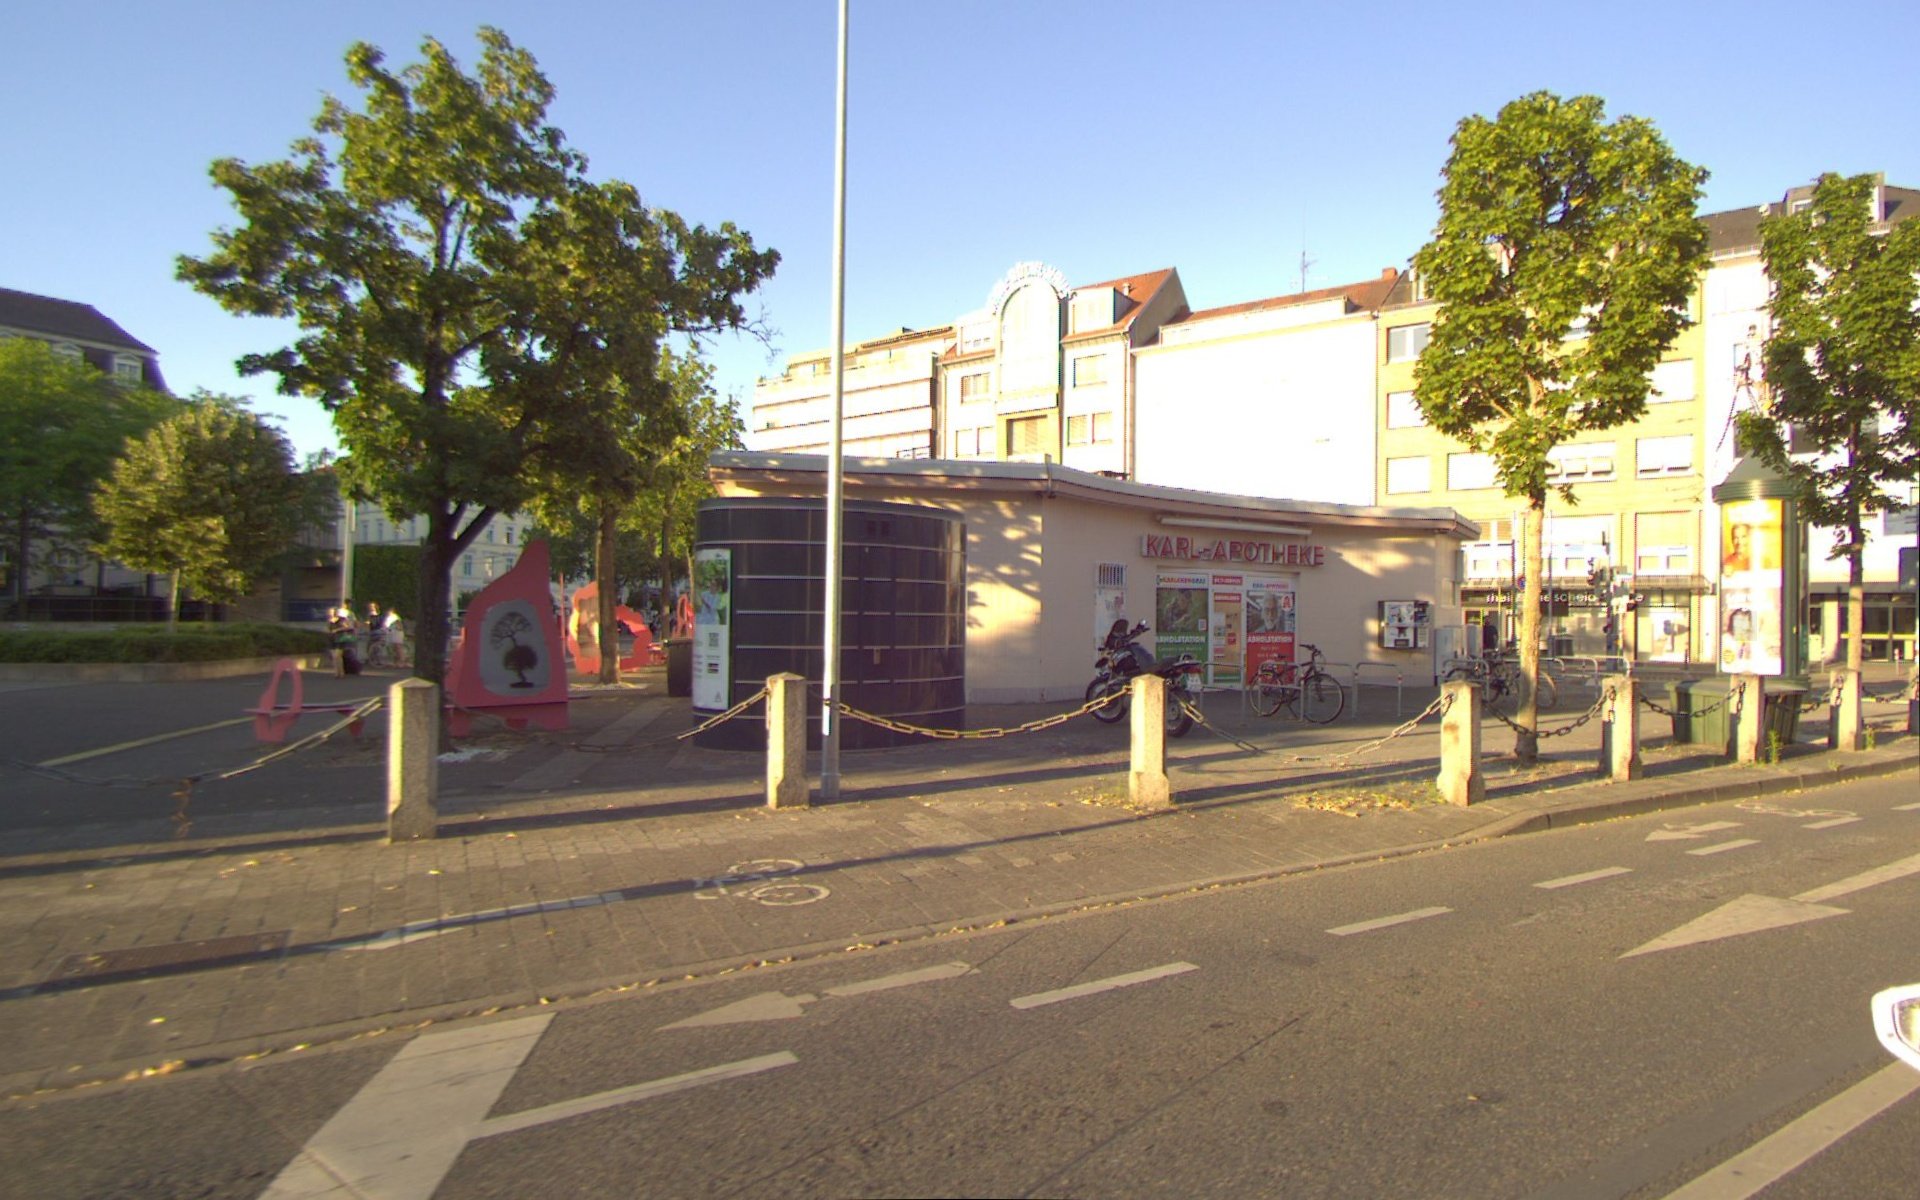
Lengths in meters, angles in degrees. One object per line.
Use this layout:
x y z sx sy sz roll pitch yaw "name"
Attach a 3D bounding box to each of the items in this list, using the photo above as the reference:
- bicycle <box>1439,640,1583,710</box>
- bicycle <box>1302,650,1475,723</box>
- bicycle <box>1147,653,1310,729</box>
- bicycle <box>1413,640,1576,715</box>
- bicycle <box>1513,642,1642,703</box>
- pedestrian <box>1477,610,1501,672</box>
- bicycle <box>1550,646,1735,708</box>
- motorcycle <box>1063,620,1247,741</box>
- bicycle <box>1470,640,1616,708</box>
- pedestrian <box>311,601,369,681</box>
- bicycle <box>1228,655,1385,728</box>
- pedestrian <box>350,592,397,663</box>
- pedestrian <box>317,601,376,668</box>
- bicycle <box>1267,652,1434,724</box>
10.068 1.342 18.447 0.803 1.150 2.223 1 -1 -32 "bicycle"
6.879 1.356 16.274 0.924 1.010 2.509 1 -1 -32 "bicycle"
3.852 1.286 14.694 0.693 0.931 2.509 1 -1 -32 "bicycle"
9.233 1.298 17.489 0.693 1.161 2.509 1 -1 -32 "bicycle"
11.996 1.385 19.587 0.673 1.077 2.082 1 -1 -29 "bicycle"
14.217 1.101 27.004 0.539 1.632 0.642 0 -1 26 "pedestrian"
13.085 1.440 19.417 0.832 1.036 2.931 1 -1 -27 "bicycle"
2.530 0.999 13.404 1.100 1.445 2.401 1 -1 -31 "motorcycle"
10.882 1.339 18.849 0.790 1.146 2.314 1 -1 -28 "bicycle"
-14.323 0.929 23.223 0.695 1.801 0.897 0 -1 8 "pedestrian"
5.143 1.336 15.096 0.693 0.931 2.314 1 -1 -32 "bicycle"
-17.087 0.795 29.275 0.944 2.040 1.056 1 0 -18 "pedestrian"
-16.841 0.933 27.598 1.169 1.801 0.710 0 -1 5 "pedestrian"
5.994 1.324 15.595 0.693 0.931 2.509 1 -1 -32 "bicycle"
